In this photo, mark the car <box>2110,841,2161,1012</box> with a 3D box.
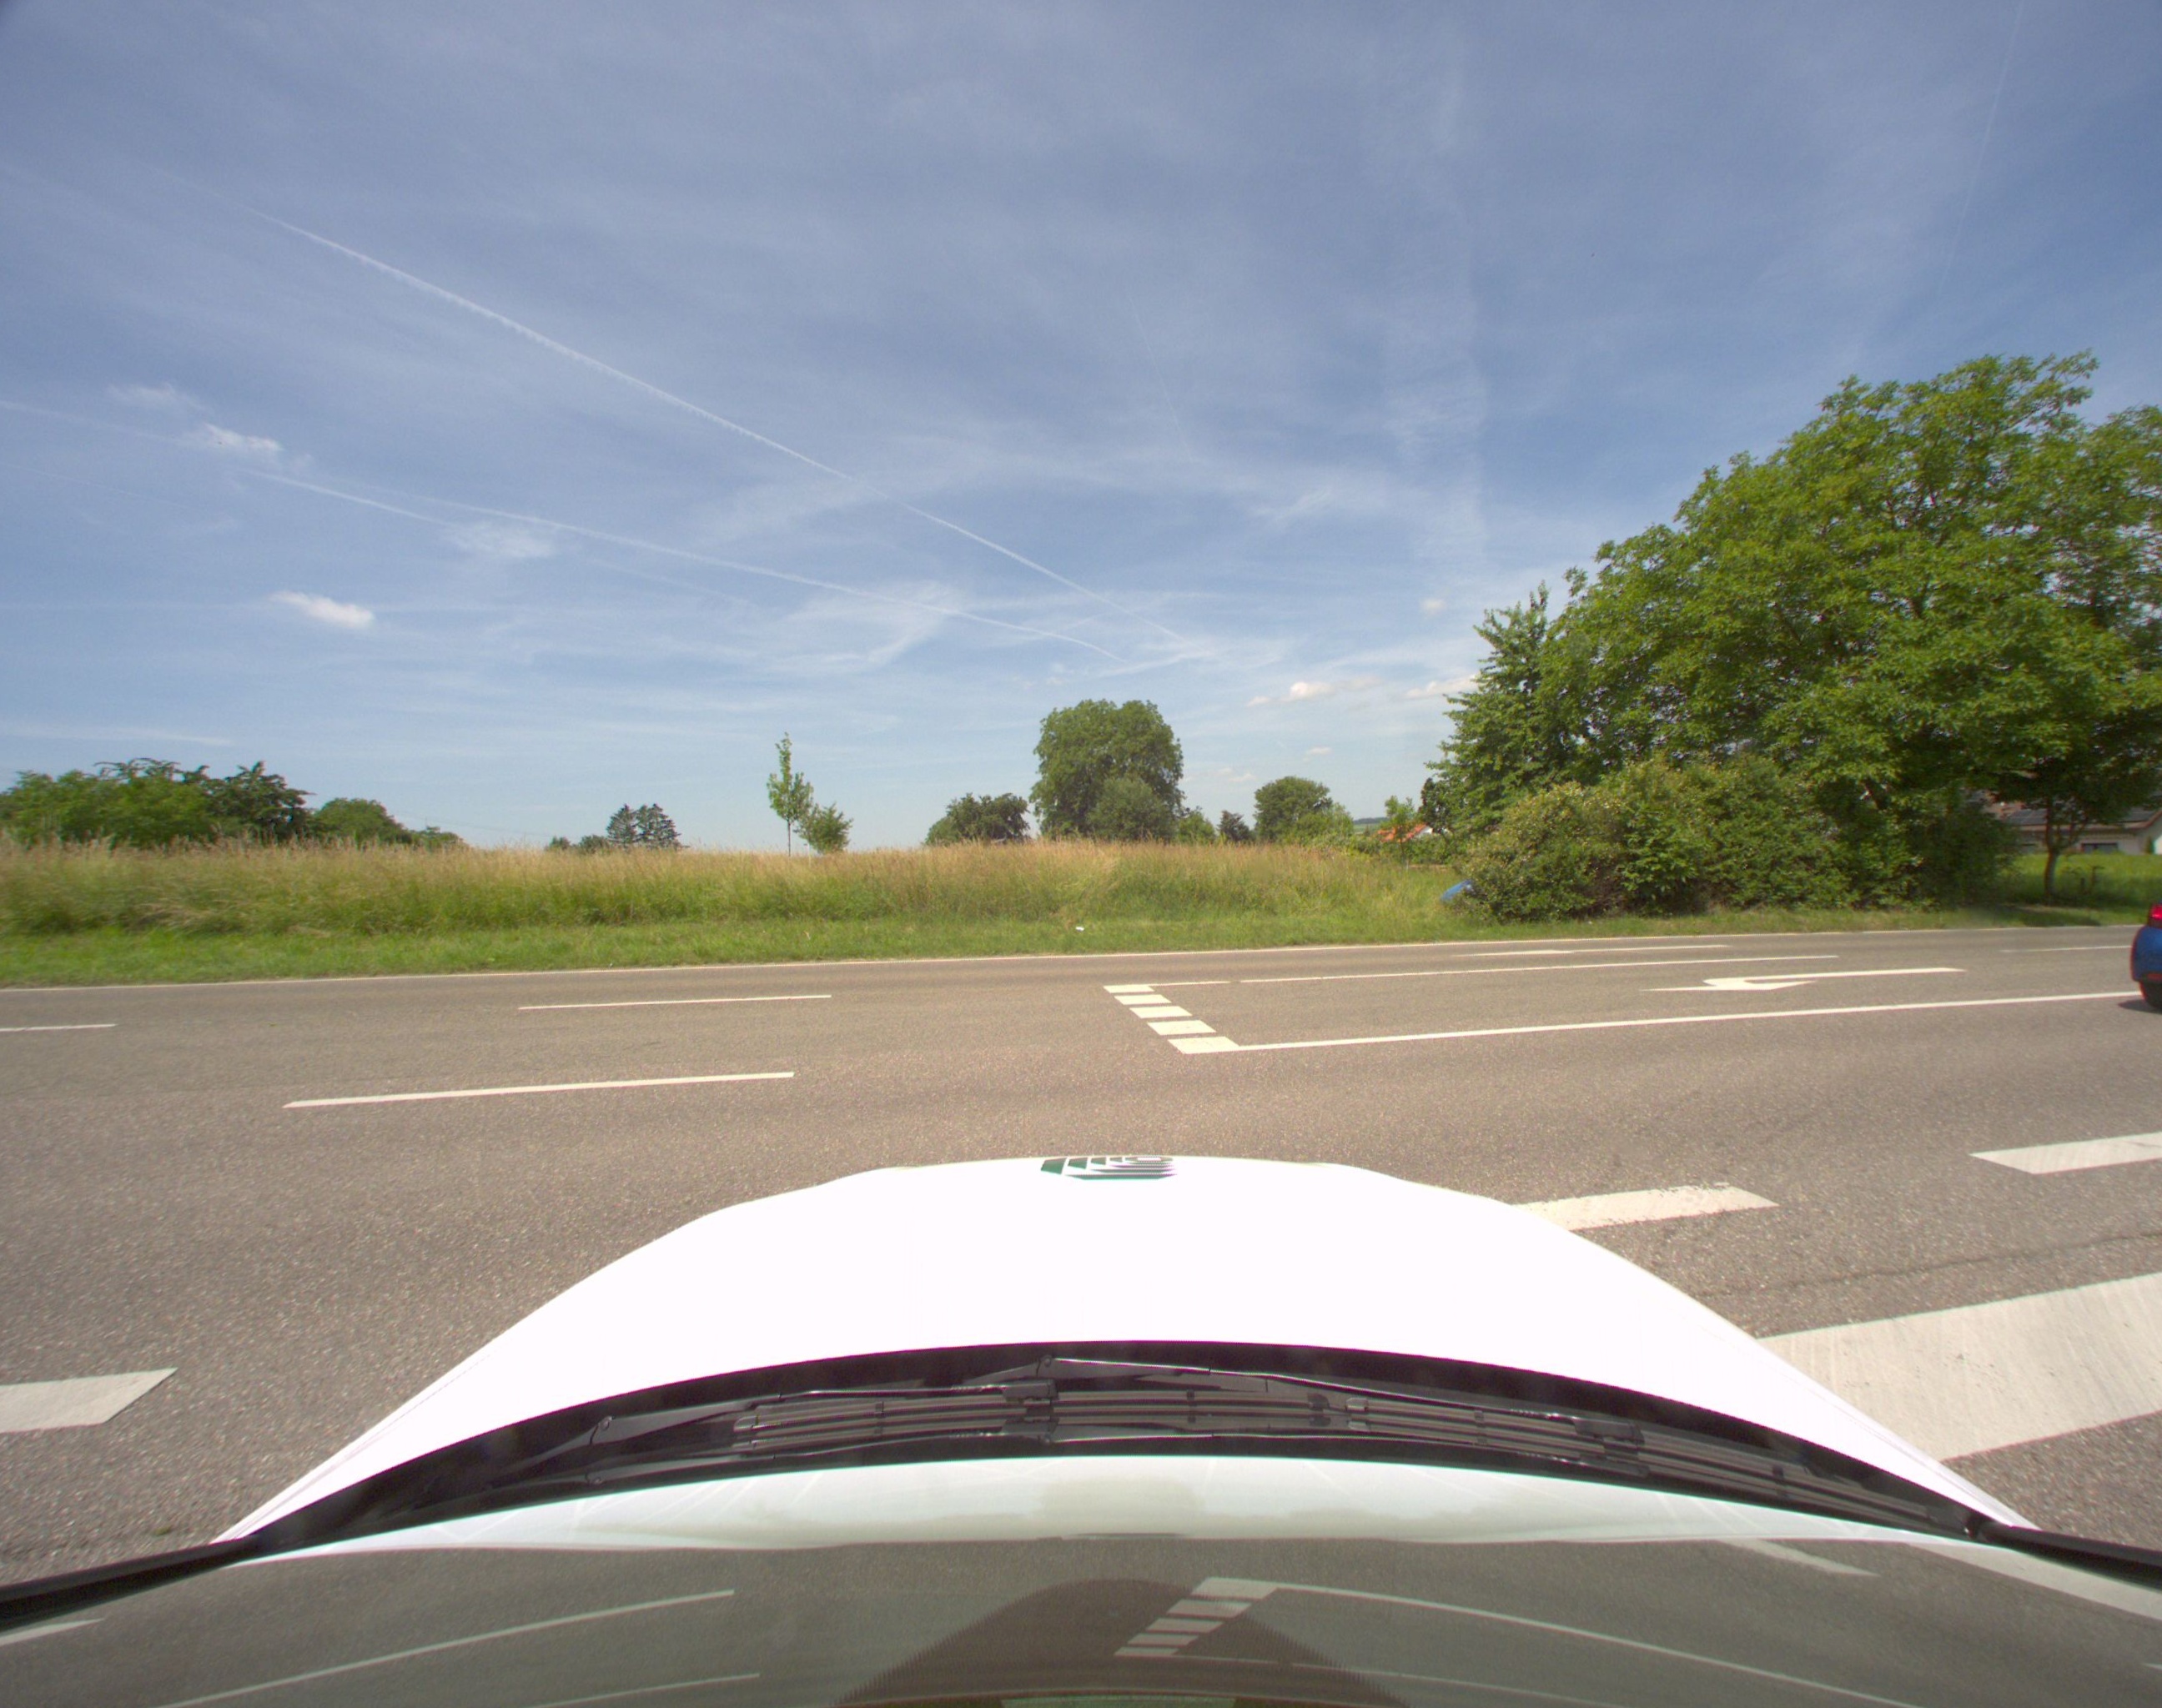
[{"bbox_3d":[11.441,0.623,7.078,3.839,1.492,1.607,-1,0,-12],"label":"car"}]
